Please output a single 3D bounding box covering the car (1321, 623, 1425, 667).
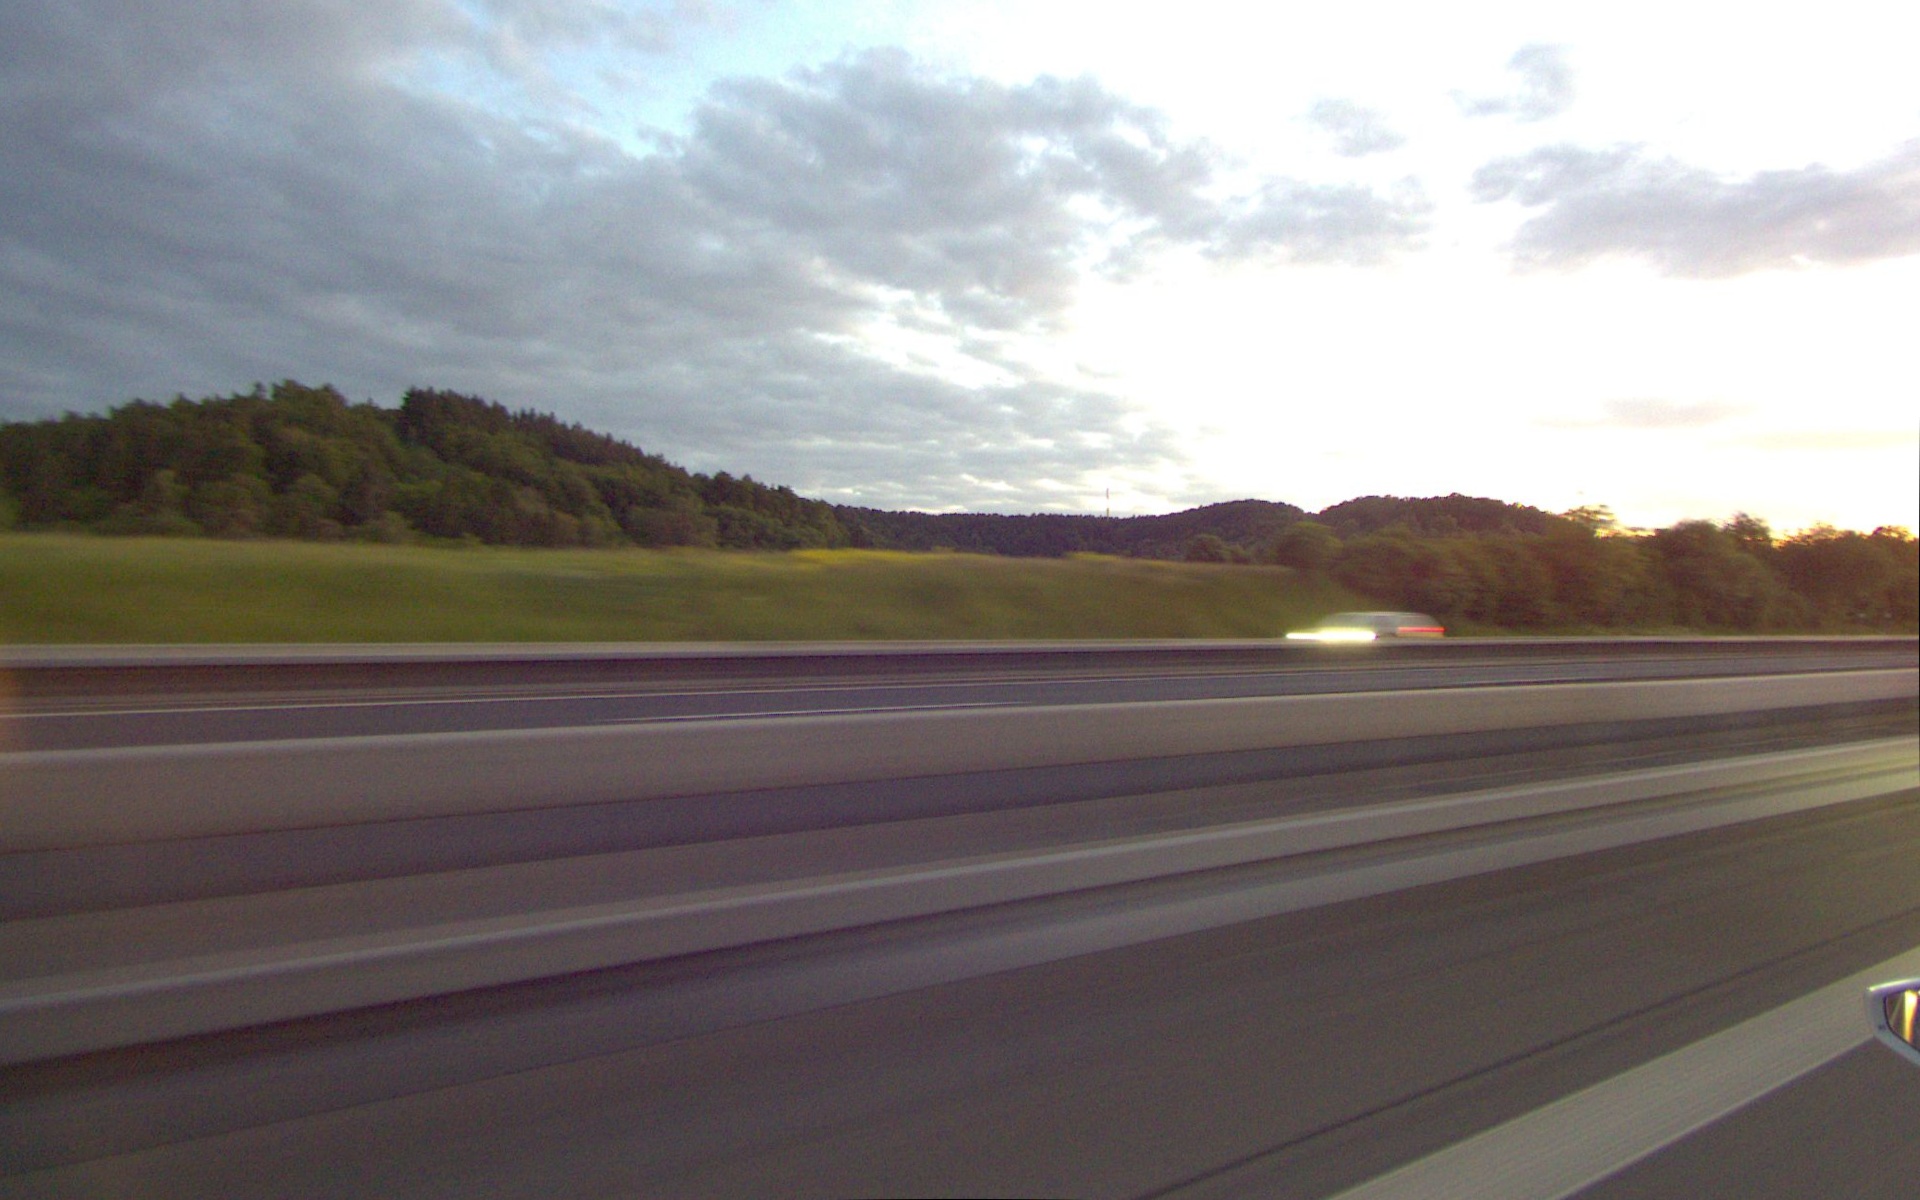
[{"bbox_3d":[15.086,1.631,36.634,3.630,1.513,1.660,1,-1,-30],"label":"car"}]
